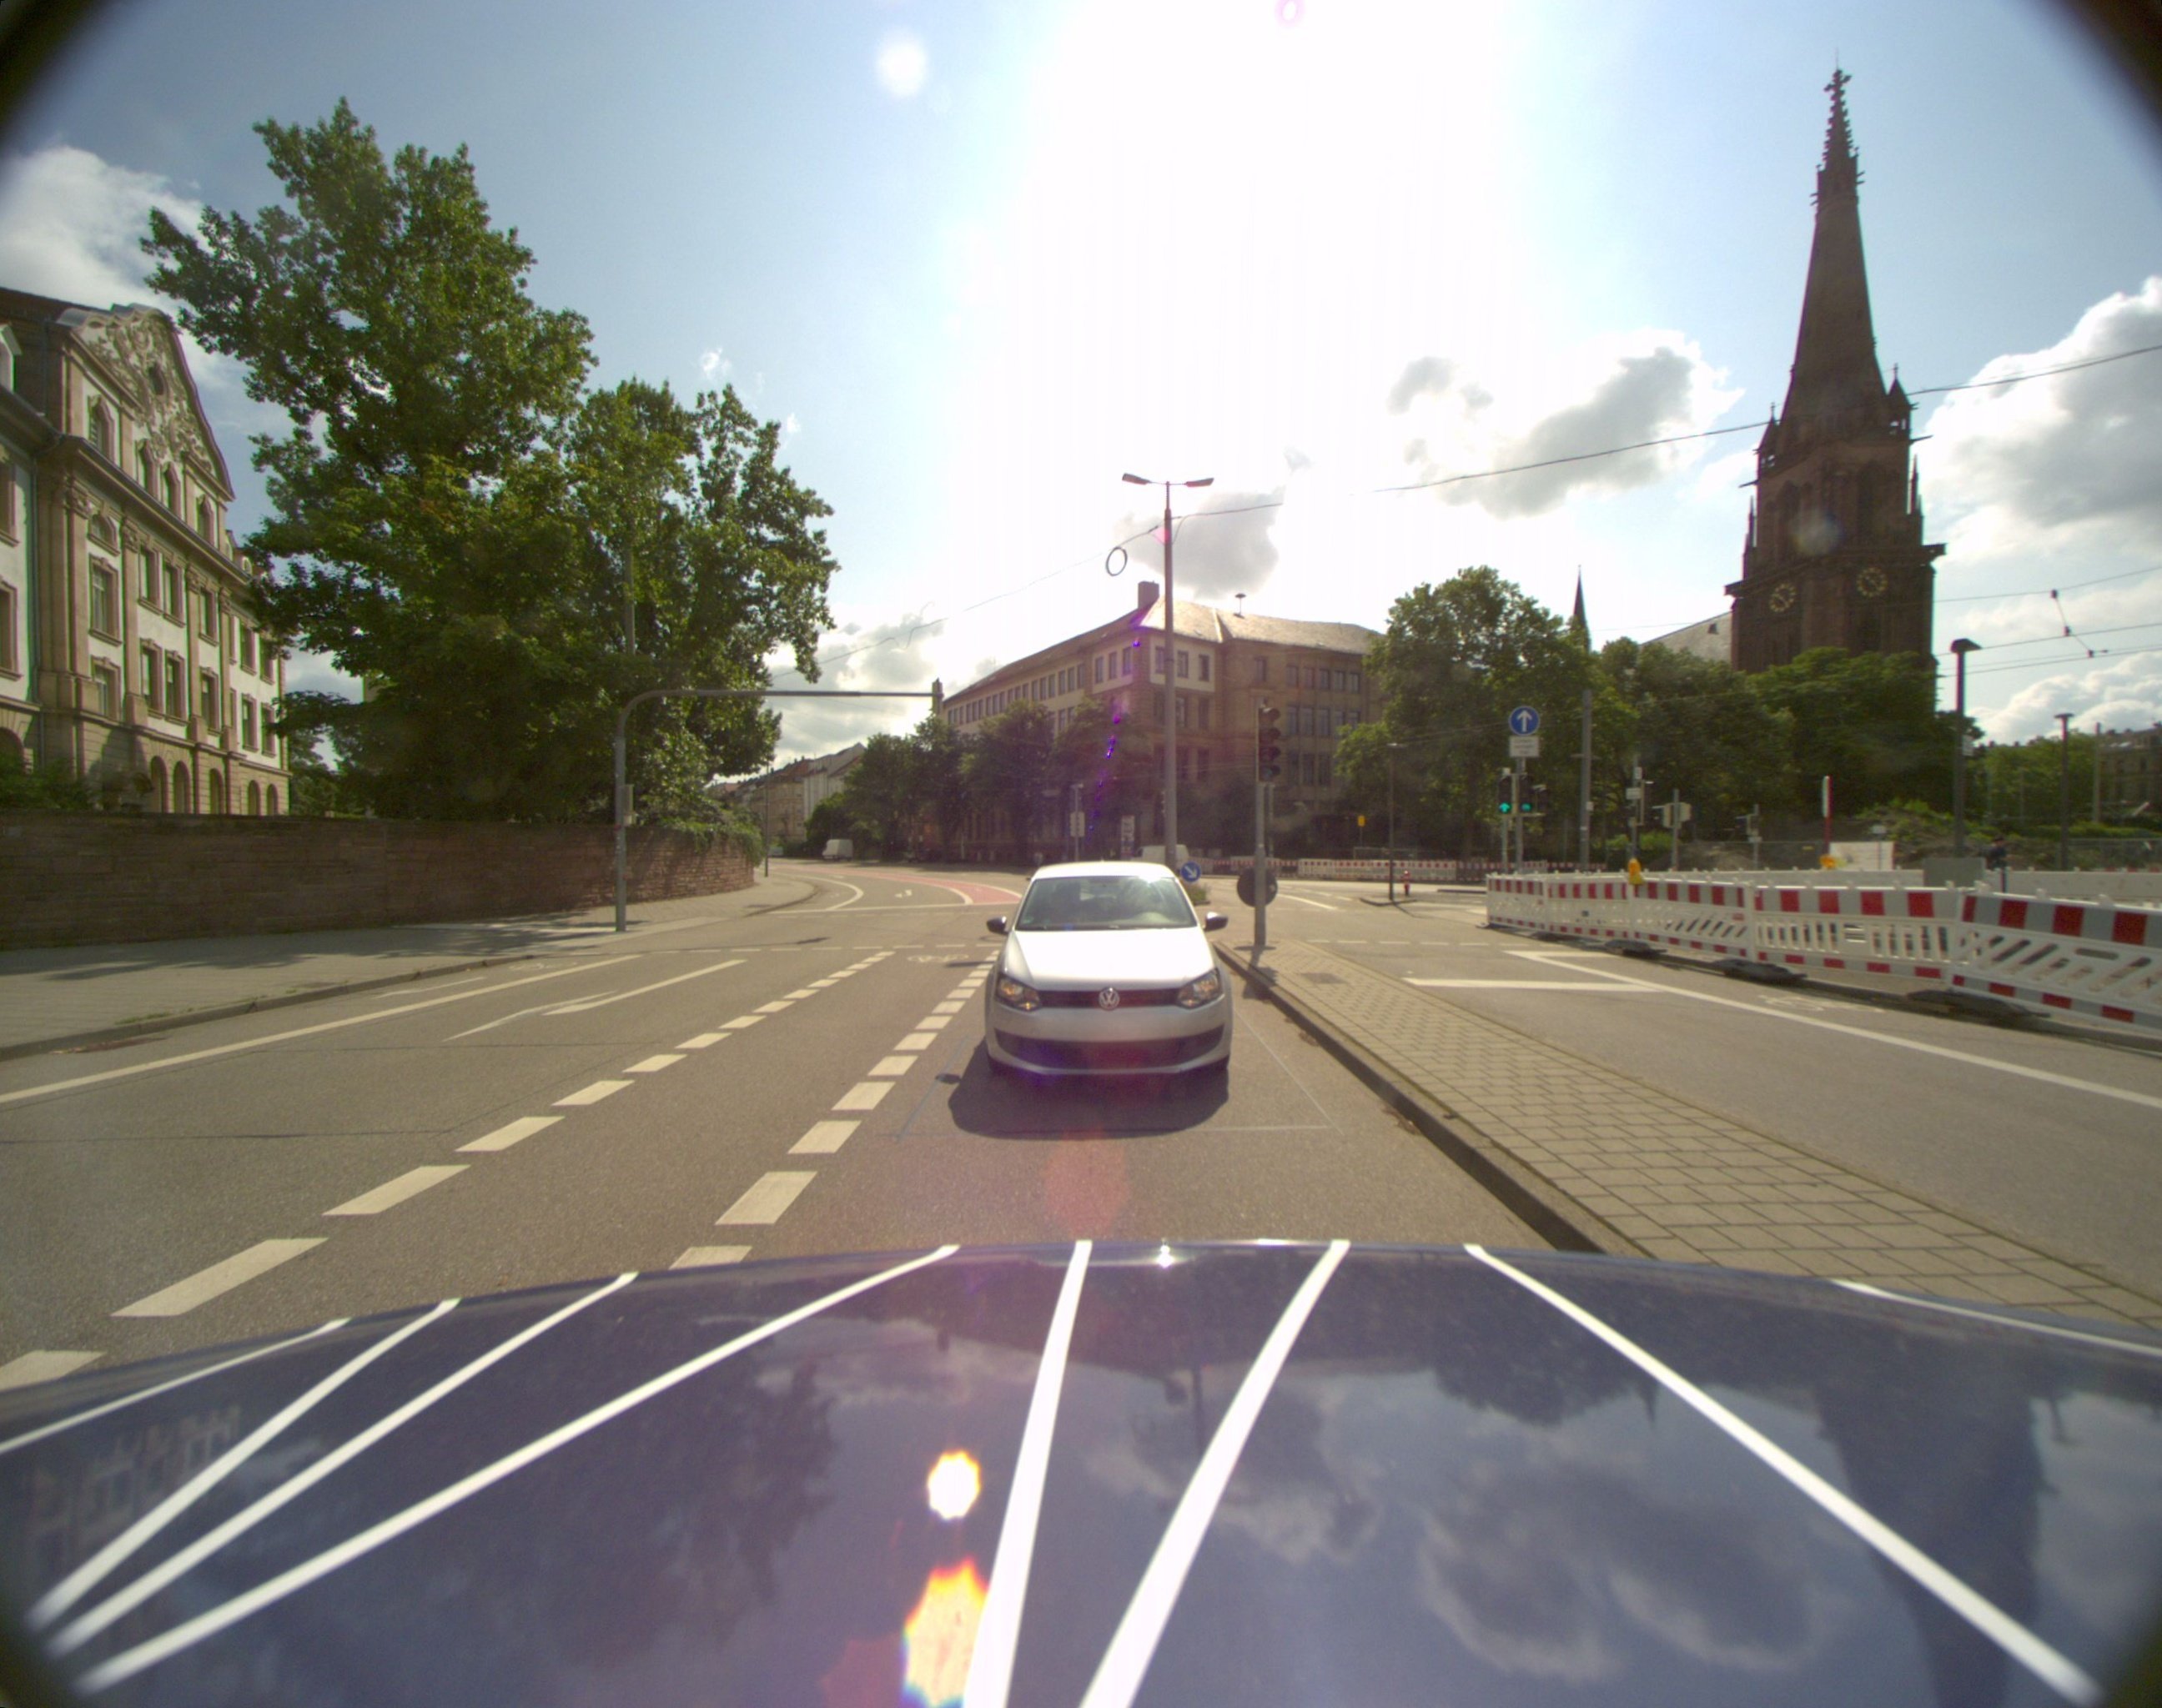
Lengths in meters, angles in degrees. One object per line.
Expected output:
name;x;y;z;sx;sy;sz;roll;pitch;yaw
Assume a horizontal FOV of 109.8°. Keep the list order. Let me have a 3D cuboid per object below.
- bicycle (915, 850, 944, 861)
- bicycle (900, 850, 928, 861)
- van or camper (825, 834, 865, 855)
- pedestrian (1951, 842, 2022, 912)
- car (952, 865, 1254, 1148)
bicycle;-16.916;0.159;84.914;2.891;1.201;1.050;0;4;9
bicycle;-19.171;0.207;87.171;2.891;1.201;1.073;0;4;9
van or camper;-29.348;-1.172;94.297;2.981;2.587;6.740;0;1;-33
pedestrian;22.474;0.546;18.854;1.209;1.696;0.840;0;1;-26
car;0.153;0.896;6.297;1.655;1.433;4.004;-2;1;1
